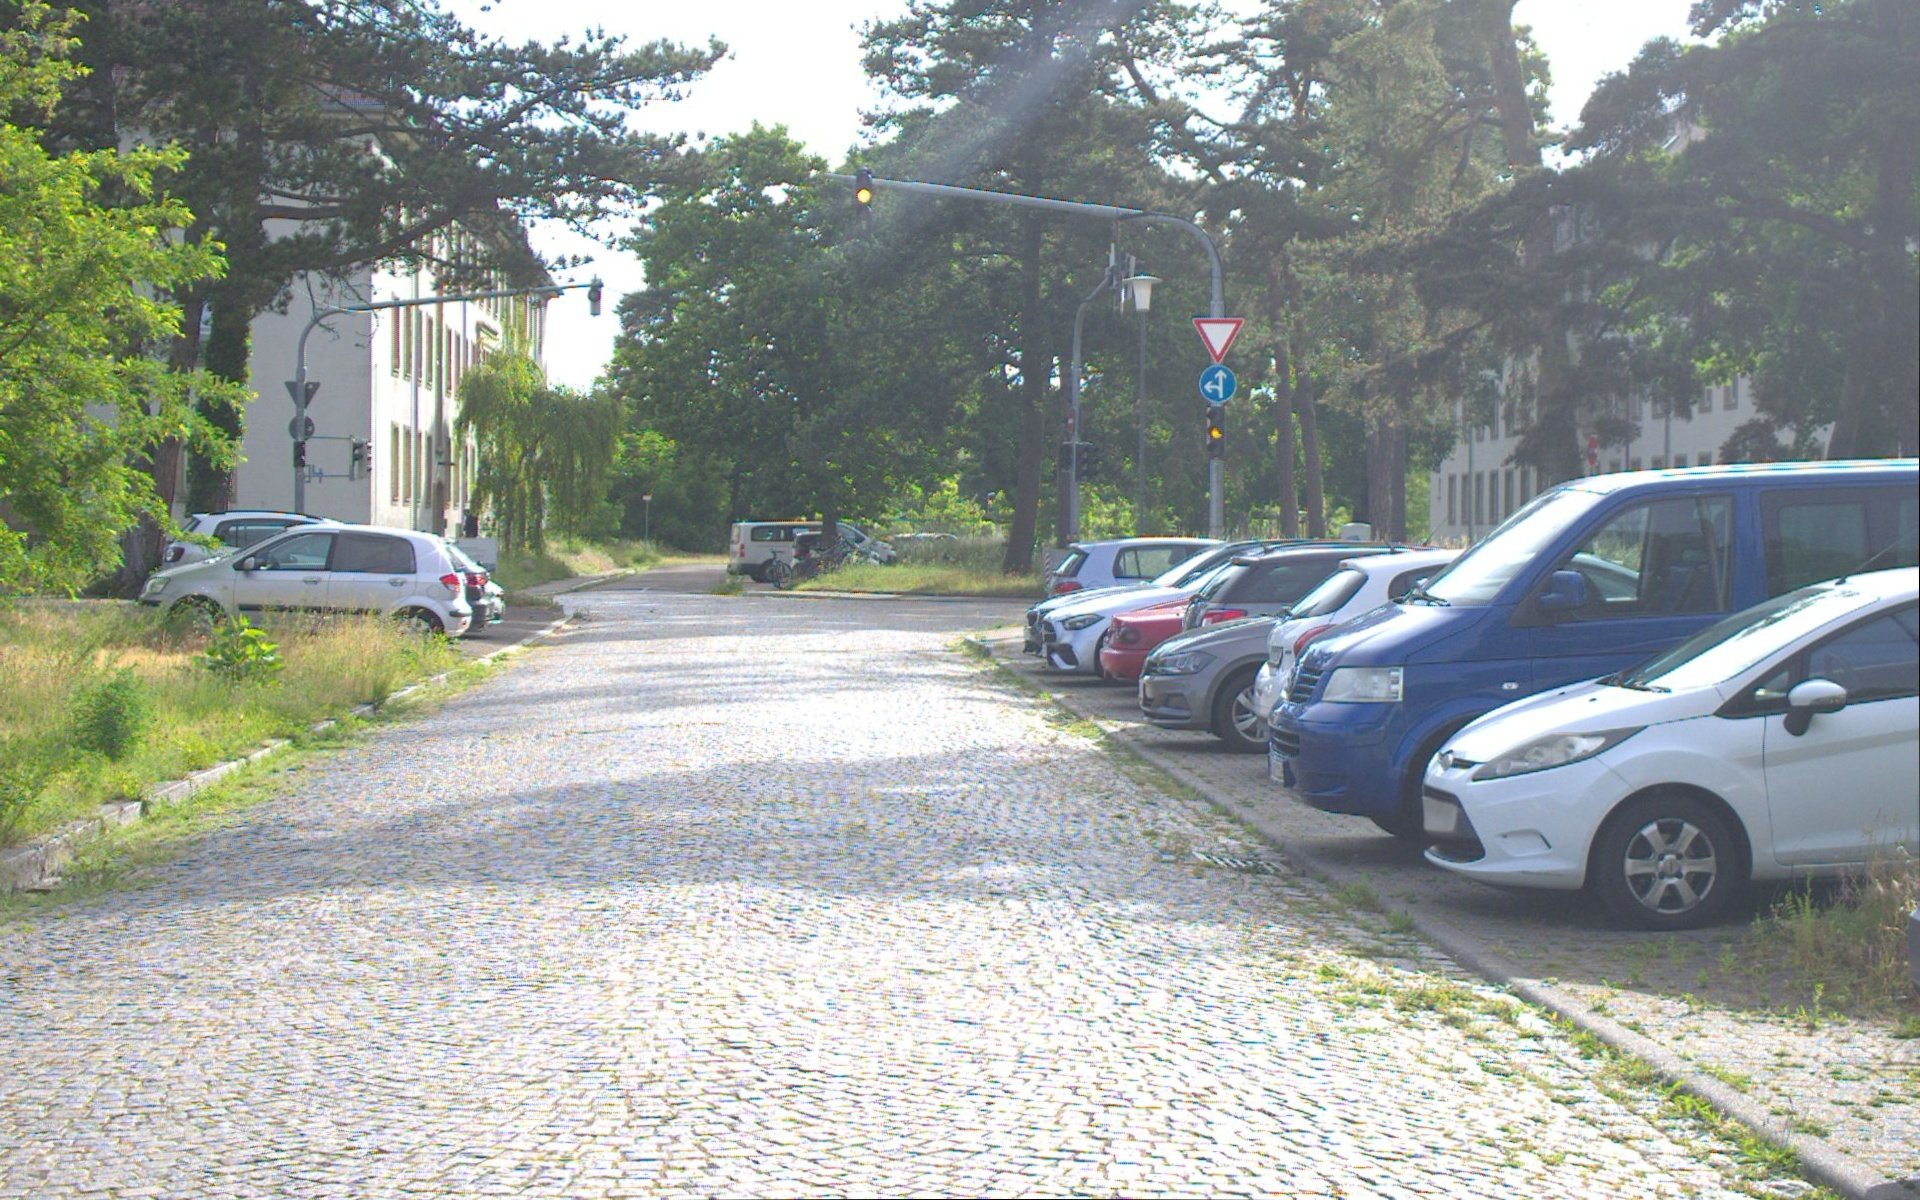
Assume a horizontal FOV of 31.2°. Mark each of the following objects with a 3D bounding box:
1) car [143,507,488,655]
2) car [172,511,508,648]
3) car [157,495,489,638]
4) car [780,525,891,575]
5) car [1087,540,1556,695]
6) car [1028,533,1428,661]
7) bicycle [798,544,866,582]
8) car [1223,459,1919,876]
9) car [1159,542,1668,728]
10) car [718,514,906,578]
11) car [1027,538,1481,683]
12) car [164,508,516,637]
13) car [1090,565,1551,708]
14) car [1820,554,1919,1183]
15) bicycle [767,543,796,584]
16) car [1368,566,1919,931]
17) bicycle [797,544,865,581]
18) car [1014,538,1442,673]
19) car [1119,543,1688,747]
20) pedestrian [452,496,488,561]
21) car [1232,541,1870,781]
[{"bbox_3d":[-7.427,-0.223,39.879,3.682,1.468,1.850,3,0,-5],"label":"car"},{"bbox_3d":[-7.616,-0.255,42.529,3.828,1.424,1.859,3,0,-4],"label":"car"},{"bbox_3d":[-8.315,-0.438,45.190,4.120,1.594,1.859,3,0,-8],"label":"car"},{"bbox_3d":[-3.782,-1.521,104.478,3.031,1.460,1.720,1,0,-16],"label":"car"},{"bbox_3d":[3.485,0.154,33.627,4.340,1.468,1.740,0,1,-3],"label":"car"},{"bbox_3d":[3.173,-0.049,41.294,4.543,1.500,1.933,0,1,-5],"label":"car"},{"bbox_3d":[-3.438,-1.005,92.115,1.792,0.995,0.644,0,2,-4],"label":"bicycle"},{"bbox_3d":[3.845,0.285,17.472,4.732,1.922,1.992,-1,1,-4],"label":"car"},{"bbox_3d":[3.717,0.272,28.616,3.950,1.490,1.772,0,1,-3],"label":"car"},{"bbox_3d":[-4.654,-1.698,108.003,5.499,1.909,2.255,1,1,-17],"label":"car"},{"bbox_3d":[3.018,0.095,35.877,4.506,1.468,1.850,0,1,-3],"label":"car"},{"bbox_3d":[-8.553,-0.400,47.725,4.586,1.450,1.904,3,2,-5],"label":"car"},{"bbox_3d":[3.227,0.315,31.235,3.950,1.256,1.727,0,1,-3],"label":"car"},{"bbox_3d":[4.514,0.674,8.630,4.190,1.583,1.878,0,1,-4],"label":"car"},{"bbox_3d":[-4.602,-0.947,88.462,0.728,0.995,1.799,0,2,-3],"label":"bicycle"},{"bbox_3d":[4.040,0.586,14.971,4.189,1.465,1.808,0,1,-7],"label":"car"},{"bbox_3d":[-3.498,-1.015,93.133,1.792,0.995,0.644,0,2,-4],"label":"bicycle"},{"bbox_3d":[2.970,0.042,38.656,4.505,1.468,1.896,0,1,-7],"label":"car"},{"bbox_3d":[3.242,0.314,25.666,3.950,1.462,1.831,0,1,-3],"label":"car"},{"bbox_3d":[-14.812,-2.162,103.905,0.985,1.956,0.933,1,0,-4],"label":"pedestrian"},{"bbox_3d":[3.848,0.377,22.835,3.874,1.525,1.808,0,1,-3],"label":"car"}]
